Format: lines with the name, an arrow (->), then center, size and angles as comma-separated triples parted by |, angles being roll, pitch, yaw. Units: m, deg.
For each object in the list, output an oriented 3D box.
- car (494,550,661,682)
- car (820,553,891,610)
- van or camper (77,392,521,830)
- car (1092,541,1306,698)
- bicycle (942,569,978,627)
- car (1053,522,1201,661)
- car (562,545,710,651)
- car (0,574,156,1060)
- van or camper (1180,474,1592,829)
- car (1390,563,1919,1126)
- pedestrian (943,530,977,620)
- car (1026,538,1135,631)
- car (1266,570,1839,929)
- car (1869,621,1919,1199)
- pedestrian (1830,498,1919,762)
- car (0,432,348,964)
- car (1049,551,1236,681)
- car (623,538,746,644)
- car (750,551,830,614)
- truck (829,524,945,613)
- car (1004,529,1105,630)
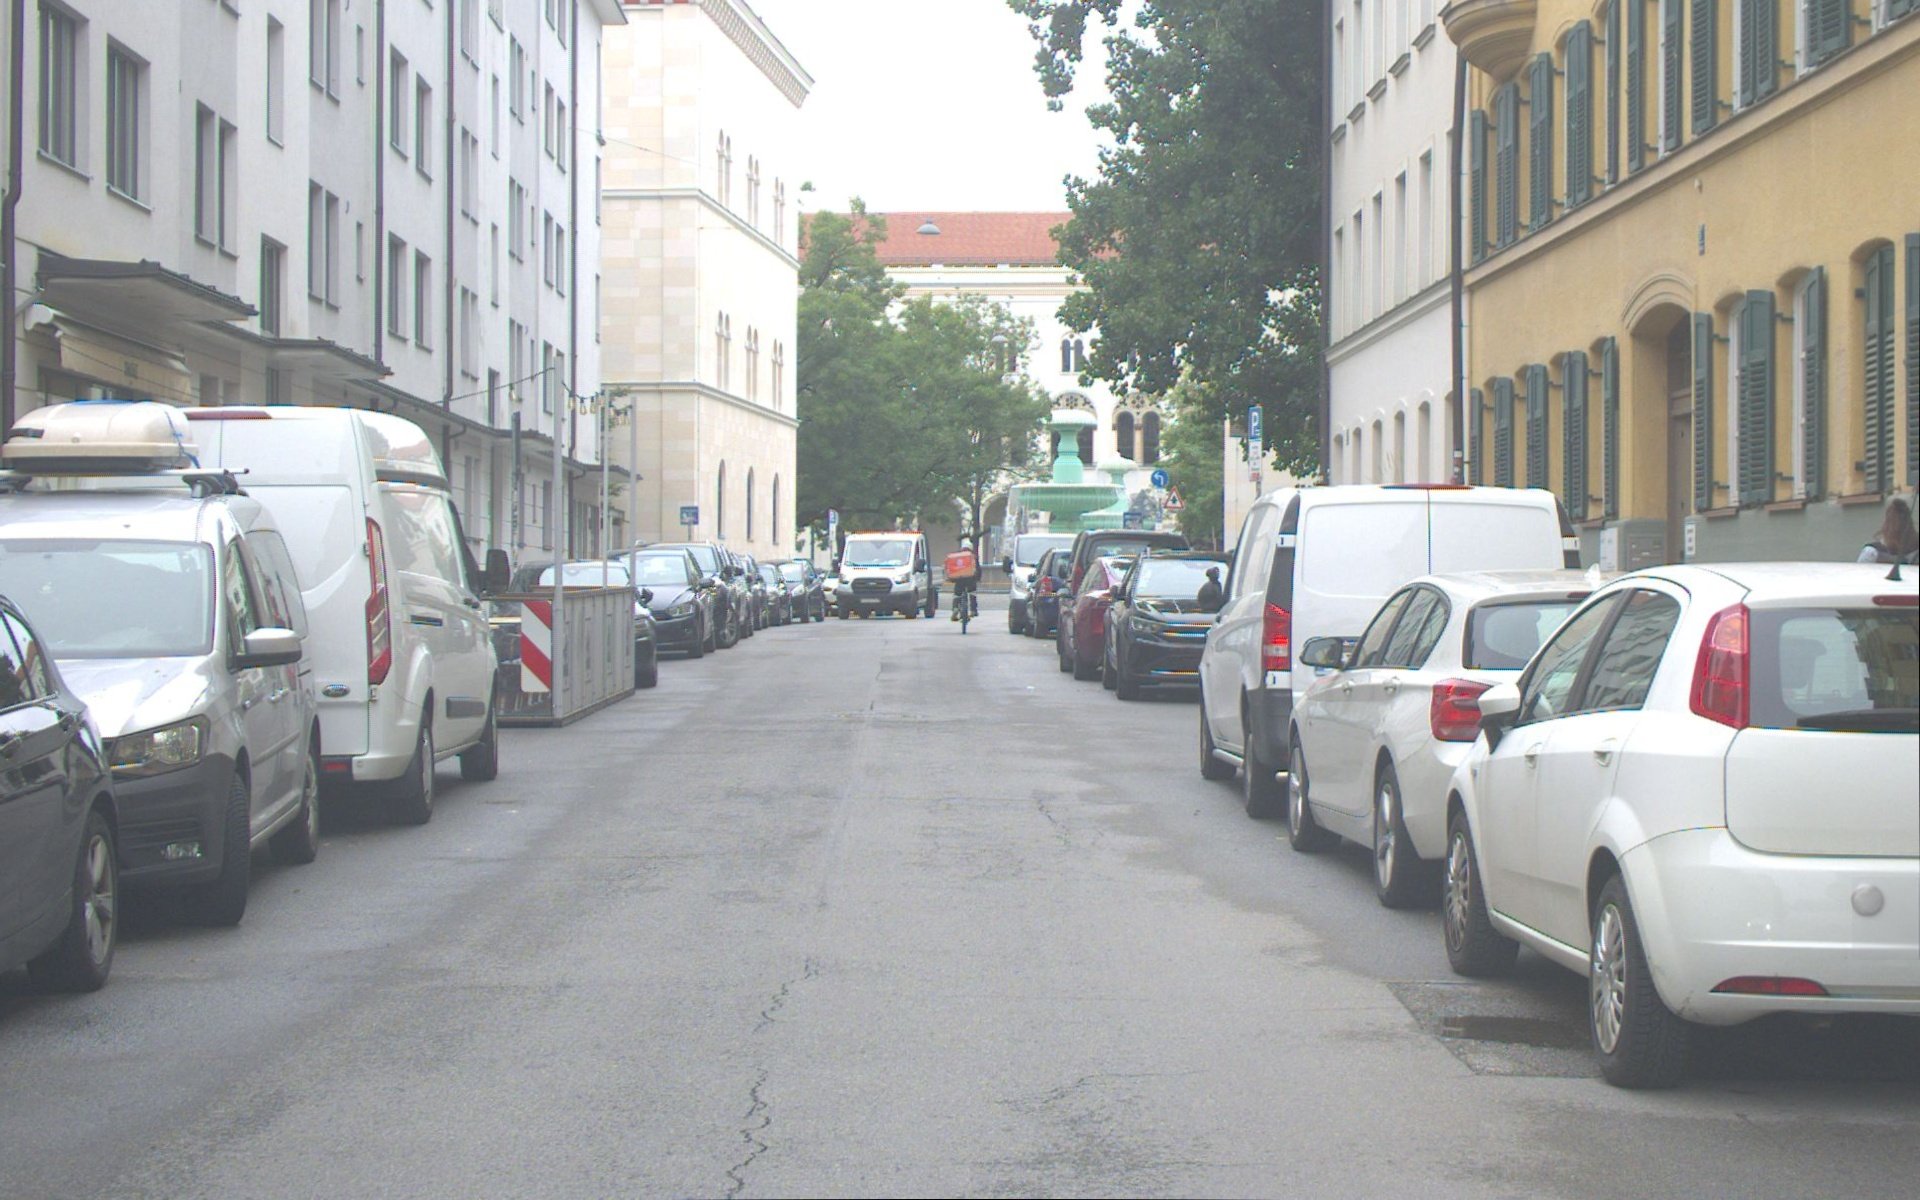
car -> -4.399, 0.147, 39.108 | 1.761, 1.406, 4.157 | -1, 1, -8
car -> -2.928, -0.535, 97.011 | 1.706, 1.576, 3.863 | -1, 1, 2
van or camper -> -3.807, 0.027, 20.688 | 1.754, 2.273, 5.274 | 1, 1, -1
car -> 2.395, 0.169, 35.384 | 1.811, 1.459, 4.247 | 2, 1, -1
bicycle -> 0.006, -0.037, 65.458 | 0.675, 1.091, 1.760 | 0, 0, 0
car -> 2.280, -0.137, 47.822 | 1.812, 1.791, 4.247 | 2, 1, 0
car -> -4.569, -0.050, 48.926 | 1.817, 1.439, 3.818 | -1, 1, -1
car -> -3.684, 0.631, 10.168 | 1.754, 1.404, 4.103 | 1, 1, -2
van or camper -> 2.435, 0.239, 20.885 | 1.833, 1.865, 5.079 | 1, 1, 0
car -> 2.582, 0.623, 11.021 | 1.708, 1.449, 4.097 | 1, 1, -2
pedestrian -> 0.004, -0.475, 65.483 | 0.642, 1.708, 0.843 | 0, 0, 0
car -> 2.140, -0.284, 61.736 | 1.812, 1.609, 4.156 | 0, 1, 0
car -> 2.540, 0.575, 15.737 | 1.708, 1.388, 4.207 | 1, 1, -2
car -> 2.658, 0.784, 4.361 | 1.708, 1.404, 4.815 | 1, 1, 0
pedestrian -> 5.730, 0.173, 20.855 | 0.660, 1.566, 0.642 | -2, 0, -1
car -> -3.830, 0.334, 15.169 | 1.754, 1.988, 4.626 | 1, 1, -5
car -> 2.110, 0.155, 40.889 | 1.811, 1.420, 4.247 | 2, 1, -2
car -> -4.324, -0.155, 54.445 | 1.706, 1.604, 3.863 | -1, 1, -1
car -> -4.357, -0.465, 88.440 | 1.706, 1.576, 3.863 | -1, 1, 2
truck -> -1.846, -0.788, 89.341 | 2.121, 2.240, 6.183 | 0, 0, 7
car -> 1.826, -0.412, 67.686 | 1.852, 1.913, 4.769 | 0, 1, 0
